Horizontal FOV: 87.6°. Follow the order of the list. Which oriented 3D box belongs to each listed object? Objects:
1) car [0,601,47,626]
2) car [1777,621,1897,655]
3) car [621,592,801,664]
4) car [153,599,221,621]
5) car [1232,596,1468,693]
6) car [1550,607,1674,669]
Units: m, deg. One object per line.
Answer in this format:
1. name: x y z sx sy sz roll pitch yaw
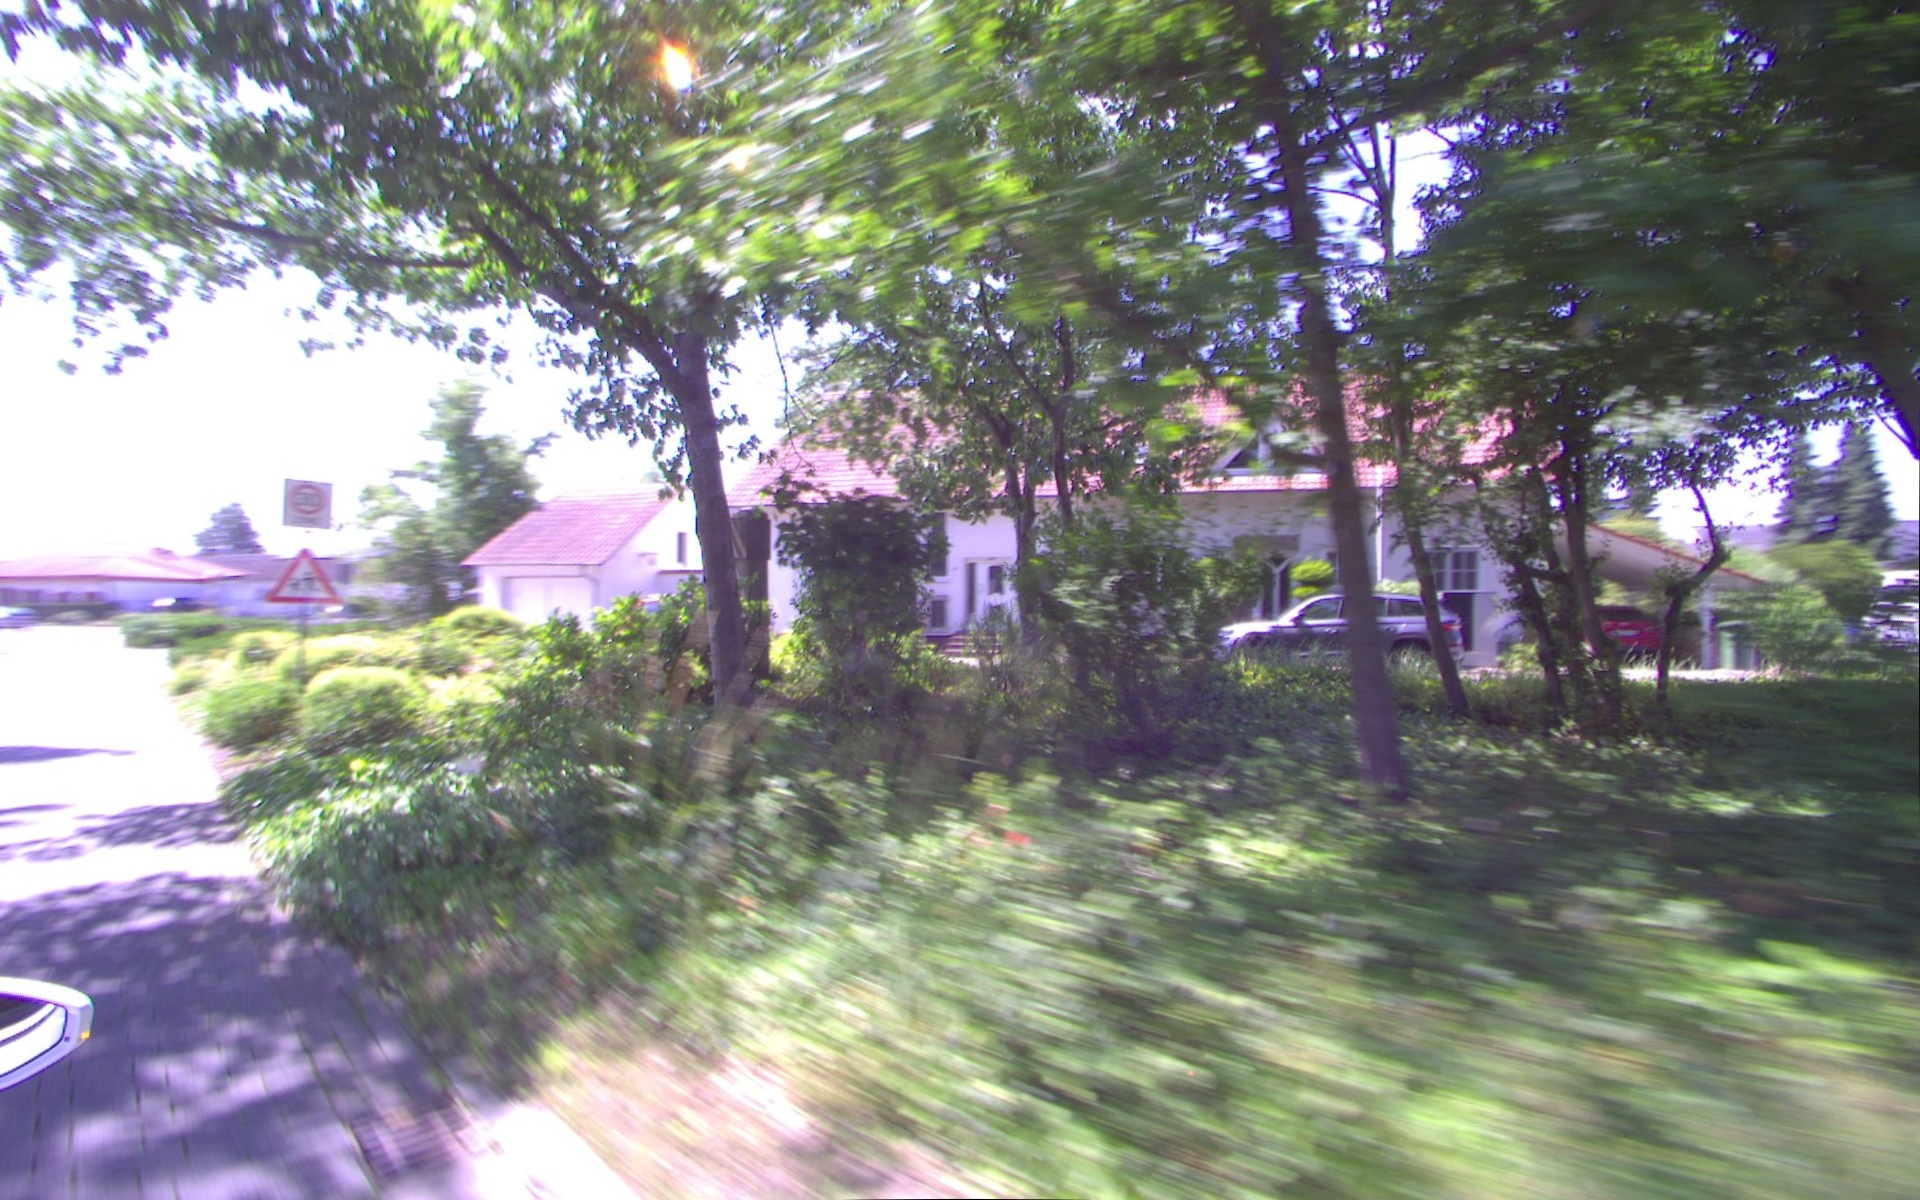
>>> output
1. car: -51.049 0.713 53.650 3.493 1.305 1.617 0 -1 18
2. car: 34.977 1.487 40.007 3.218 1.270 1.571 0 0 15
3. car: -5.979 0.634 24.096 3.956 1.622 1.663 0 0 19
4. car: -56.951 0.743 73.850 1.818 1.562 3.836 1 -1 5
5. car: 7.407 0.815 19.420 4.067 1.727 1.664 0 0 15
6. car: 15.993 0.879 24.766 1.654 1.403 3.688 0 0 18
